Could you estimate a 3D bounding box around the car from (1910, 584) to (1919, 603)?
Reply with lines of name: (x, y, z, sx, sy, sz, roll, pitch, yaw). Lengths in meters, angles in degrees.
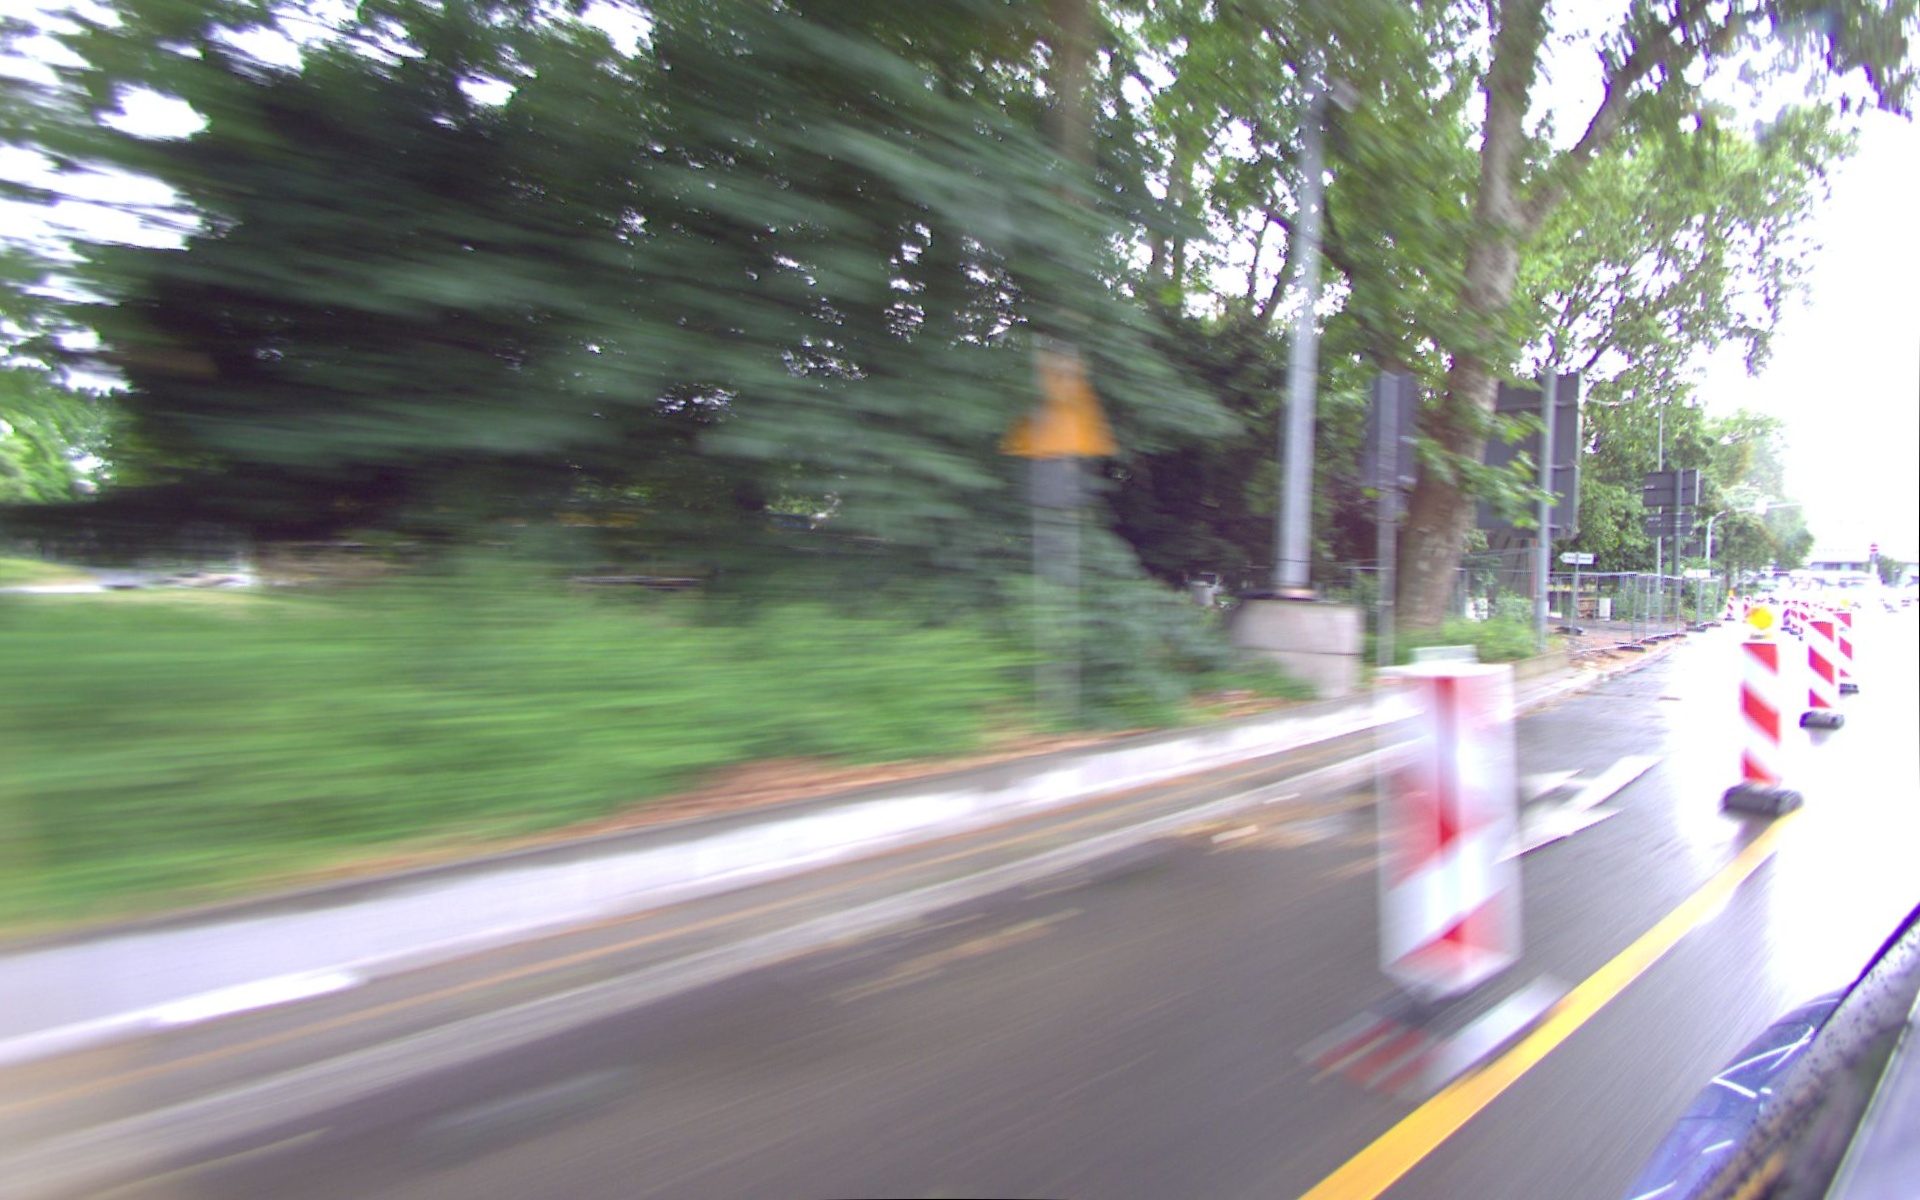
car: (108.155, -0.733, 113.641, 1.994, 2.140, 4.640, 3, 3, 43)

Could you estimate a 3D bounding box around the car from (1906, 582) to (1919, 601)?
car: (97.918, -0.875, 103.209, 1.993, 1.836, 4.228, 3, 3, 42)
